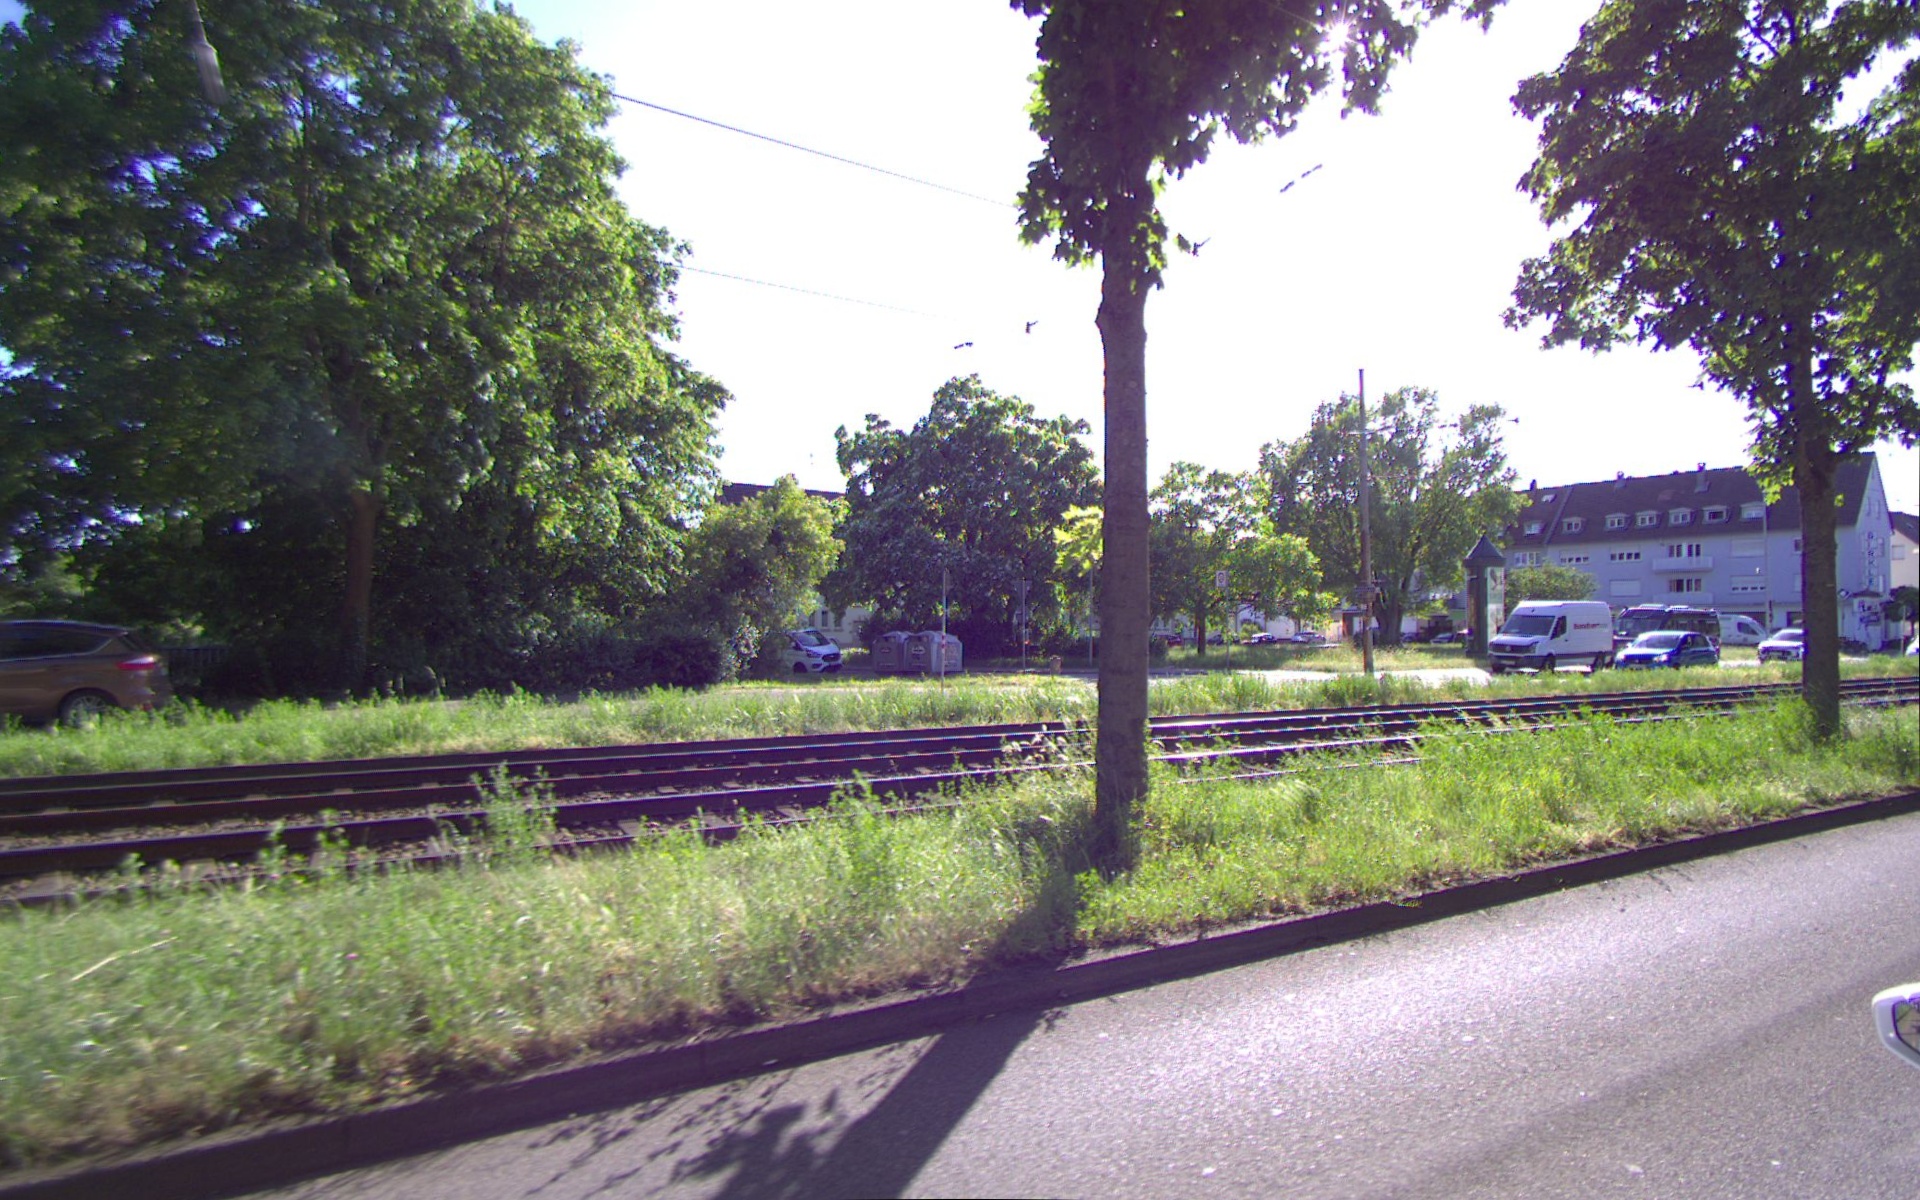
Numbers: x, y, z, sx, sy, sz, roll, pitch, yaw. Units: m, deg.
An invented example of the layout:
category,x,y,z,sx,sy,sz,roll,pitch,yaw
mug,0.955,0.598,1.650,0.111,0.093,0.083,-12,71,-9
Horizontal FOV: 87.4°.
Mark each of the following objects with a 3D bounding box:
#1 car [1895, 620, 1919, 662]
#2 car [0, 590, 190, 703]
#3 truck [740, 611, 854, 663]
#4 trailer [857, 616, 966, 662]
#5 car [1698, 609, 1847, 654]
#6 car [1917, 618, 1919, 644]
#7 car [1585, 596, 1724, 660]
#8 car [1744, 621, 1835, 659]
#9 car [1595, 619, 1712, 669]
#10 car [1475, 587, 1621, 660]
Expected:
category,x,y,z,sx,sy,sz,roll,pitch,yaw
car,43.447,1.859,44.378,4.924,1.767,1.801,2,0,-31
car,-14.446,0.669,15.169,4.196,1.605,1.667,2,0,-29
truck,-6.913,1.525,42.328,4.869,1.893,2.074,2,0,41
trailer,-1.736,1.369,35.508,3.704,1.524,1.745,-2,-2,40
car,51.669,1.951,64.096,2.307,2.541,7.020,1,1,-34
car,75.039,2.393,75.324,1.984,1.971,4.578,2,0,-40
car,28.478,1.173,41.101,6.390,2.408,2.172,2,0,-31
car,39.533,1.908,47.841,4.718,1.628,1.814,2,0,-30
car,21.631,1.366,31.300,3.777,1.413,1.549,2,0,-31
car,21.891,0.907,37.300,6.068,2.530,1.991,2,0,-32
